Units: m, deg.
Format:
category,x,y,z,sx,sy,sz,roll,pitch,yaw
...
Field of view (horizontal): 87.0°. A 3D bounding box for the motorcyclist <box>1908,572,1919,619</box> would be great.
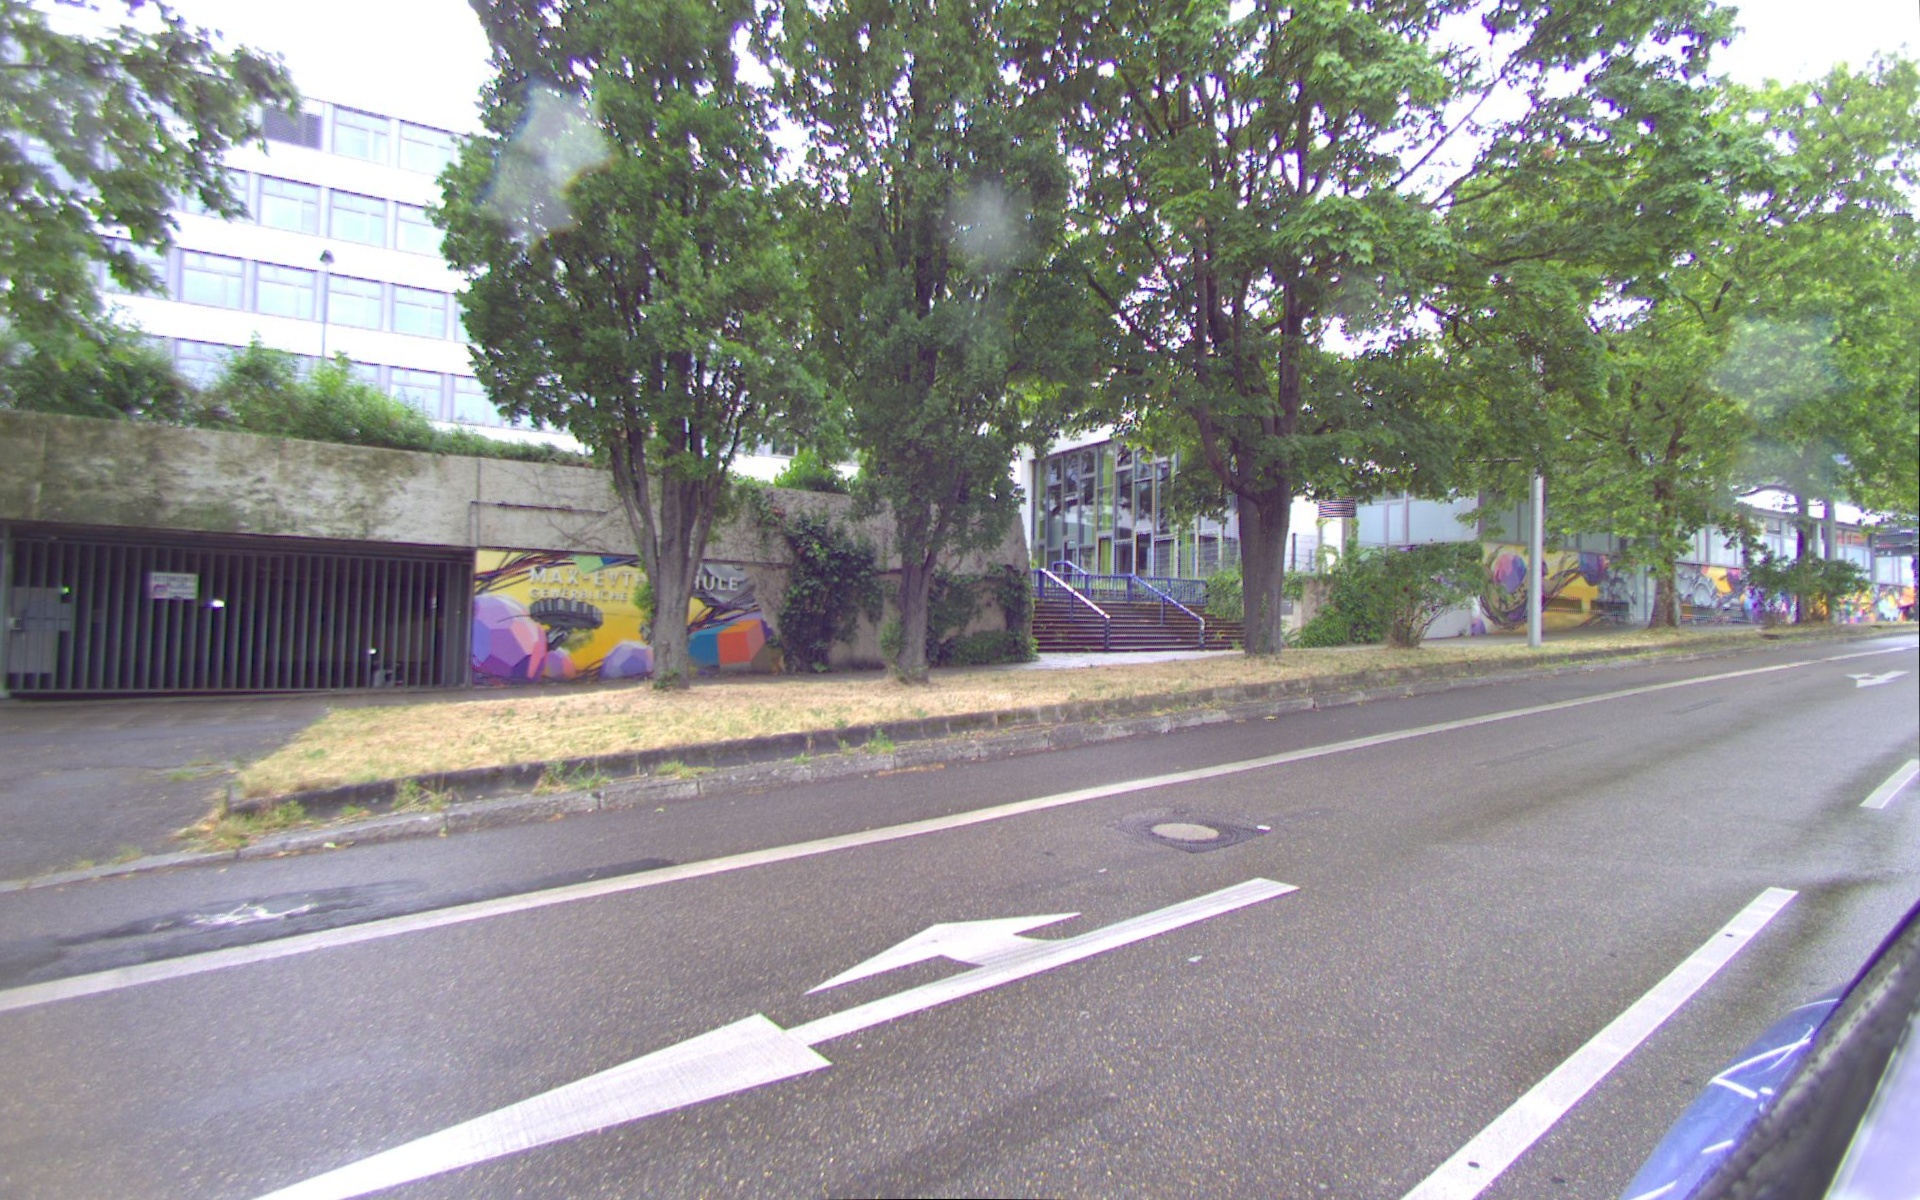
category,x,y,z,sx,sy,sz,roll,pitch,yaw
motorcyclist,42.188,-0.194,44.298,0.982,2.040,0.755,0,-2,-33
